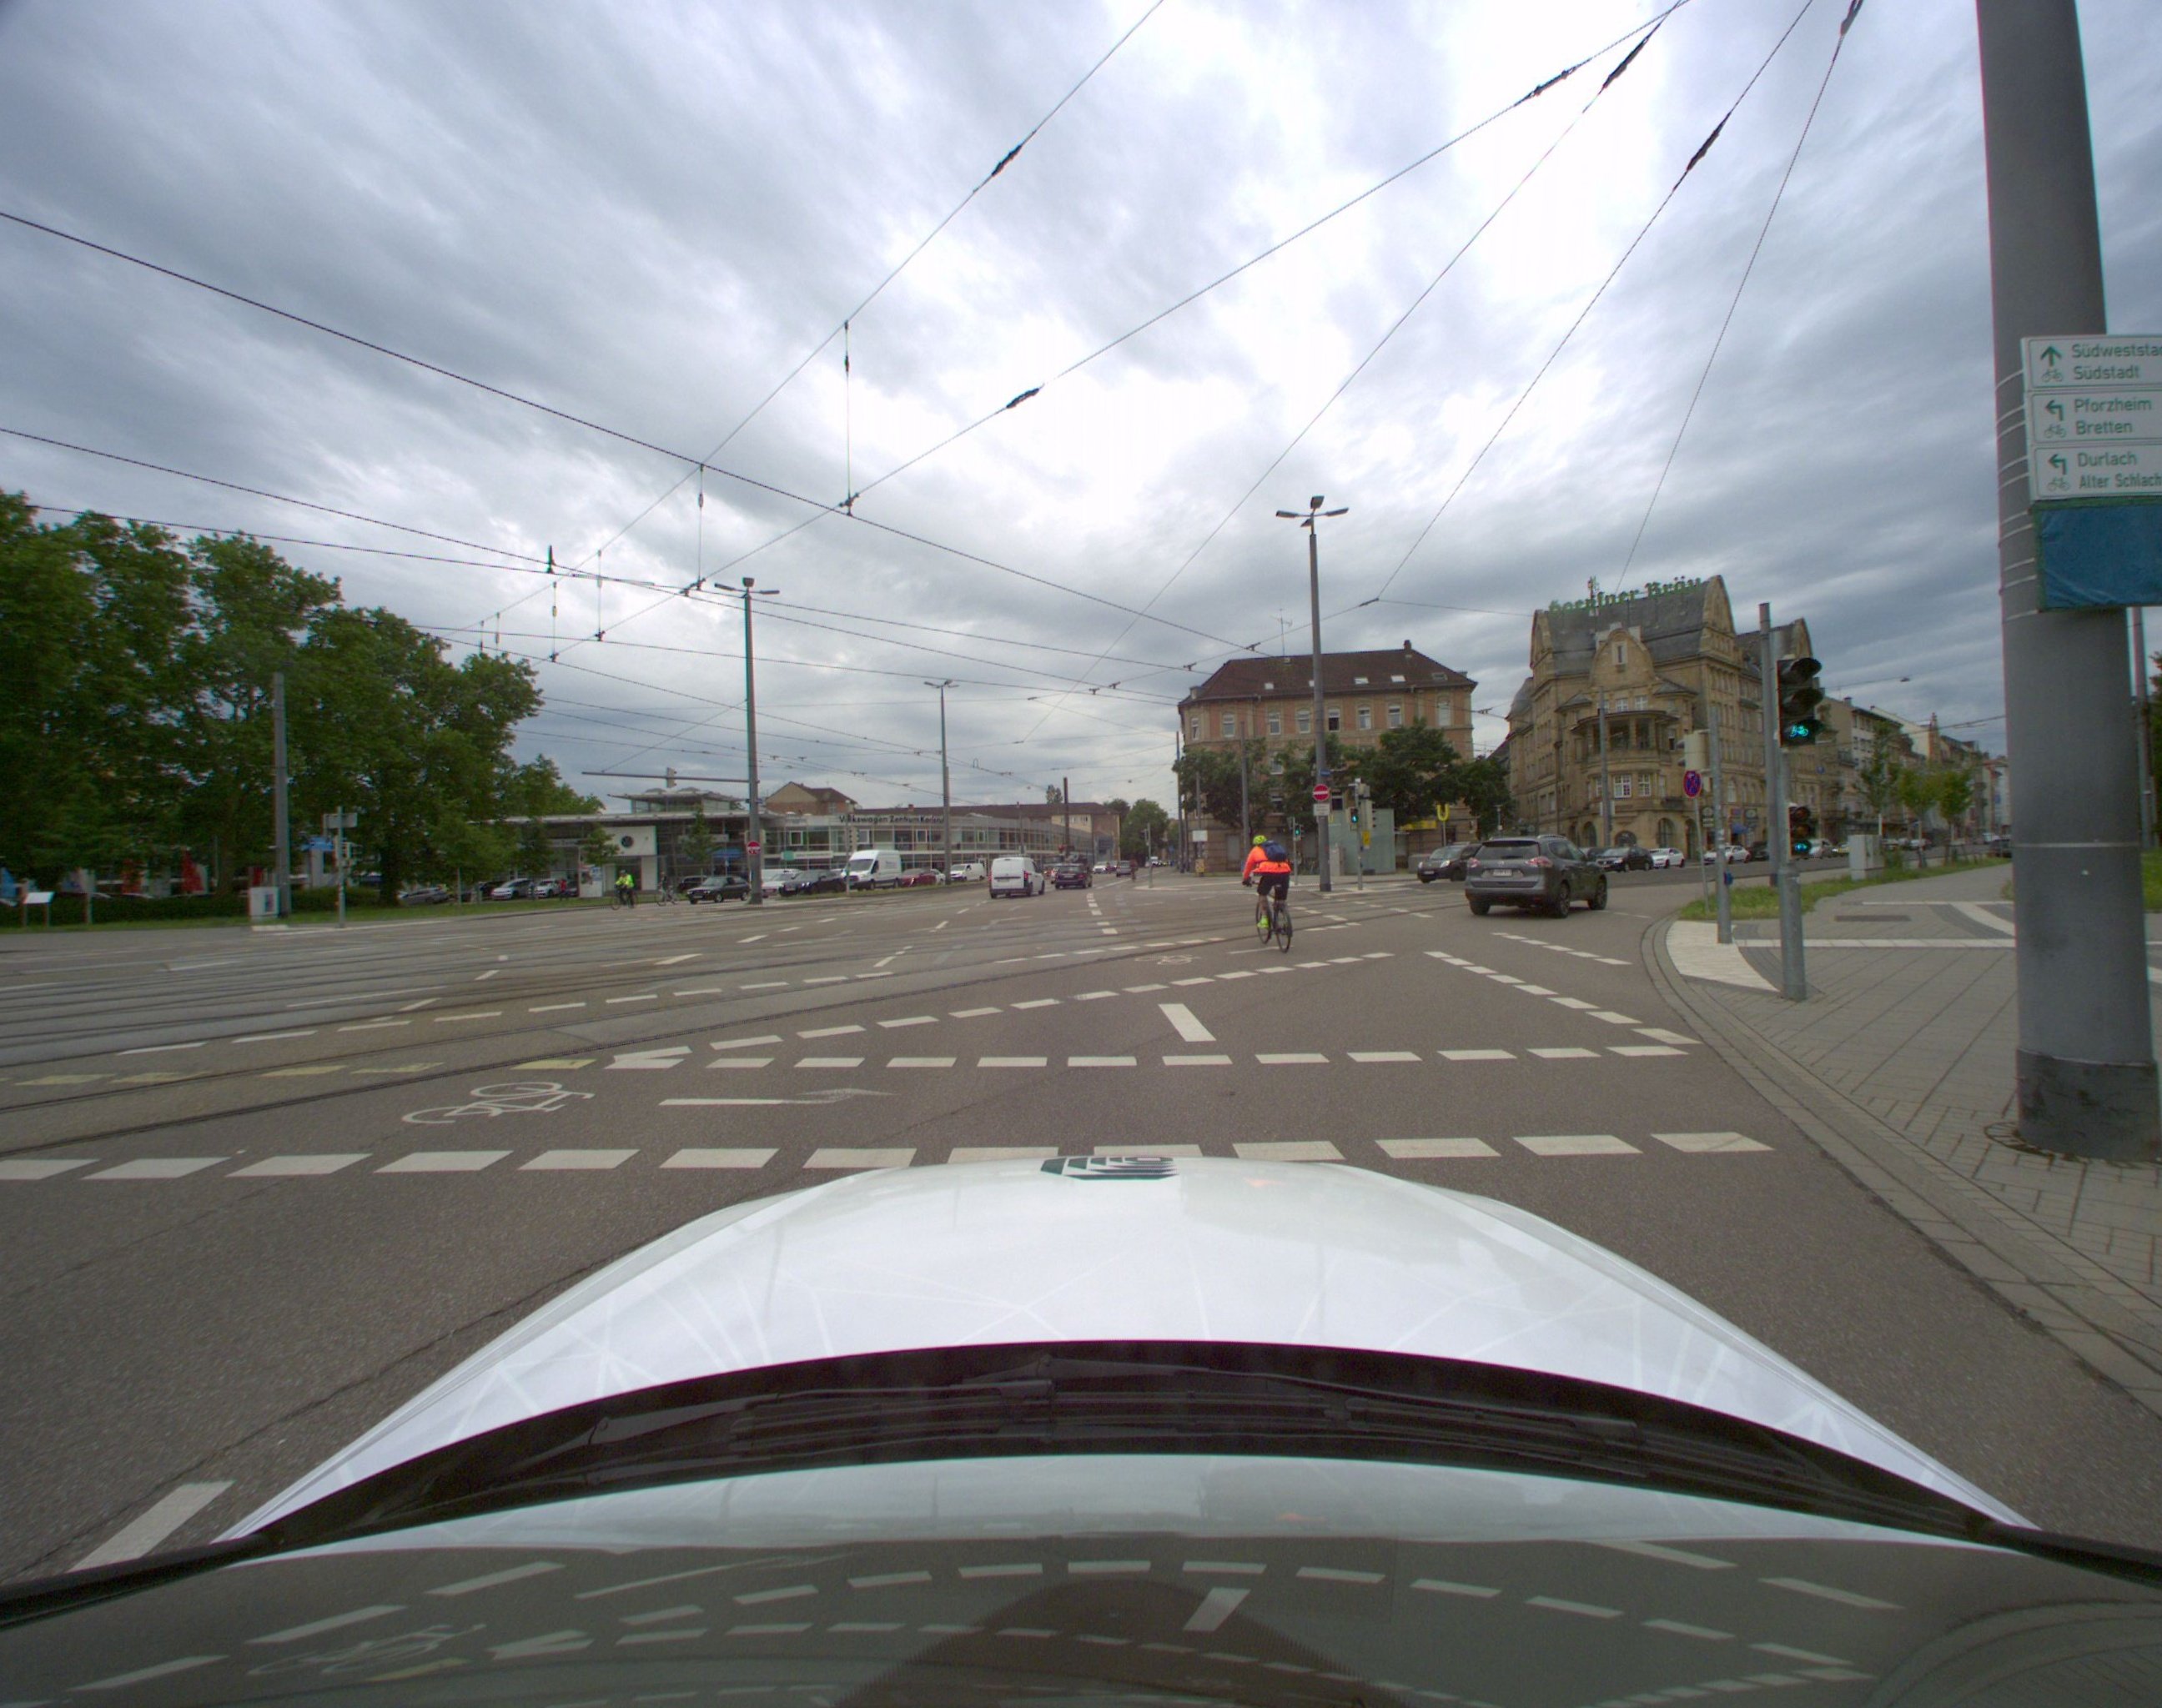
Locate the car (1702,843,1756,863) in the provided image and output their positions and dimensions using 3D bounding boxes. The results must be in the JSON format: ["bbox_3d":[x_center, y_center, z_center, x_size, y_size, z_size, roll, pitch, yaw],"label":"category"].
[{"bbox_3d":[48.950,-0.088,61.524,4.274,1.380,1.913,-1,-1,-33],"label":"car"}]

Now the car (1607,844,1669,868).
[{"bbox_3d":[36.103,0.122,52.758,3.909,1.399,1.850,-1,-3,-33],"label":"car"}]

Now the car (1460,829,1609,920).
[{"bbox_3d":[9.959,0.385,17.758,3.946,1.756,1.734,-1,0,-44],"label":"car"}]

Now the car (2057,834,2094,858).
[{"bbox_3d":[97.268,-0.793,79.627,5.006,2.115,1.836,-1,-4,-36],"label":"car"}]

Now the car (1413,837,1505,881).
[{"bbox_3d":[17.434,0.199,37.473,4.402,1.900,1.677,-1,-1,-32],"label":"car"}]

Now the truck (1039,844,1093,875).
[{"bbox_3d":[-1.726,0.708,98.032,2.769,3.549,9.275,-1,-1,24],"label":"truck"}]

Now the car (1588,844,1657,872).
[{"bbox_3d":[30.240,0.224,45.450,4.014,1.442,1.677,-1,-1,-32],"label":"car"}]

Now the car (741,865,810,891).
[{"bbox_3d":[-24.619,1.923,65.652,4.737,2.014,2.126,-1,-1,9],"label":"car"}]

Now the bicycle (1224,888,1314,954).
[{"bbox_3d":[2.812,0.973,12.398,0.556,0.848,2.066,-2,-1,-10],"label":"bicycle"}]

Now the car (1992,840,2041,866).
[{"bbox_3d":[58.262,-0.056,50.706,3.948,1.434,1.624,-1,-3,-37],"label":"car"}]

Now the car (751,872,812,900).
[{"bbox_3d":[-17.291,1.819,47.161,1.626,1.420,3.747,-2,-1,9],"label":"car"}]

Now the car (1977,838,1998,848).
[{"bbox_3d":[147.764,-1.821,132.778,4.634,1.449,1.745,-1,-1,-36],"label":"car"}]

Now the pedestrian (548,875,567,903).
[{"bbox_3d":[-36.604,2.454,56.979,0.701,1.900,0.867,-1,-1,22],"label":"pedestrian"}]

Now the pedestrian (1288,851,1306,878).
[{"bbox_3d":[14.133,0.661,53.263,0.909,1.728,0.600,-2,-1,-10],"label":"pedestrian"}]

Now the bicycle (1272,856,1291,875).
[{"bbox_3d":[15.172,0.884,61.556,0.949,1.354,3.137,-1,-1,22],"label":"bicycle"}]

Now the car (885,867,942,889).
[{"bbox_3d":[-11.982,1.699,58.603,1.978,1.420,4.822,-2,-1,16],"label":"car"}]

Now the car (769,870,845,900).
[{"bbox_3d":[-14.886,1.668,44.537,1.982,1.420,4.673,-2,-1,9],"label":"car"}]

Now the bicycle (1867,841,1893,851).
[{"bbox_3d":[96.136,-0.908,97.991,0.507,1.126,2.210,-1,-1,-43],"label":"bicycle"}]

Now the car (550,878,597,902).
[{"bbox_3d":[-47.234,3.325,75.877,1.989,2.014,3.996,-1,-1,-2],"label":"car"}]

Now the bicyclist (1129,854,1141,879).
[{"bbox_3d":[3.752,0.902,57.030,0.686,1.708,0.797,-2,-1,-3],"label":"bicyclist"}]

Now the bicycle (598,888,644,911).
[{"bbox_3d":[-21.812,2.141,38.686,0.515,0.930,2.231,-2,0,13],"label":"bicycle"}]

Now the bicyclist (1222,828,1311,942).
[{"bbox_3d":[2.803,0.449,12.437,0.827,1.621,1.317,-2,-1,-10],"label":"bicyclist"}]

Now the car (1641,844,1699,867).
[{"bbox_3d":[40.286,0.075,55.675,4.380,1.380,1.733,-1,-4,-35],"label":"car"}]

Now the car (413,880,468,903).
[{"bbox_3d":[-59.025,3.429,75.129,1.989,2.014,3.996,-1,-1,-2],"label":"car"}]

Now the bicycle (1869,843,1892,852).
[{"bbox_3d":[95.177,-0.721,96.934,0.466,1.001,1.948,-1,-1,-43],"label":"bicycle"}]

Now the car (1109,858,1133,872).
[{"bbox_3d":[5.702,1.503,115.929,1.976,1.839,4.546,-2,-1,21],"label":"car"}]

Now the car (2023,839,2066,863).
[{"bbox_3d":[71.712,-0.224,60.591,3.948,1.574,1.741,-1,-3,-36],"label":"car"}]

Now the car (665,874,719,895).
[{"bbox_3d":[-29.103,2.236,61.059,1.624,1.420,3.750,-2,-1,12],"label":"car"}]

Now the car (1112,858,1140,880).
[{"bbox_3d":[4.398,1.474,78.622,1.979,2.014,4.015,-1,-1,14],"label":"car"}]

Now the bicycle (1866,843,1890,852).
[{"bbox_3d":[92.616,-0.740,94.695,0.466,1.001,1.948,-1,-1,-43],"label":"bicycle"}]

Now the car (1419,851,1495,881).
[{"bbox_3d":[19.609,0.598,42.447,4.014,1.442,1.677,-1,-1,-32],"label":"car"}]

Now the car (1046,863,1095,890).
[{"bbox_3d":[-0.551,1.248,46.739,1.981,1.420,4.012,-2,-1,11],"label":"car"}]

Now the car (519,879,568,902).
[{"bbox_3d":[-50.077,3.366,75.921,1.989,2.014,3.996,-1,-1,-2],"label":"car"}]

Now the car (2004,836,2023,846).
[{"bbox_3d":[165.323,-2.239,144.307,4.634,1.672,1.745,-1,-1,-36],"label":"car"}]

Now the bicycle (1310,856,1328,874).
[{"bbox_3d":[17.896,0.839,61.197,0.949,1.354,3.137,-1,-1,22],"label":"bicycle"}]

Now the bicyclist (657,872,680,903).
[{"bbox_3d":[-21.123,1.699,41.674,0.562,1.508,0.860,-2,0,13],"label":"bicyclist"}]

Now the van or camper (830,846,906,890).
[{"bbox_3d":[-13.457,0.886,51.965,2.400,2.611,6.067,-1,-1,9],"label":"van or camper"}]

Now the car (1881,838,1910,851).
[{"bbox_3d":[99.900,-1.127,99.877,4.421,1.504,1.762,-1,-1,-36],"label":"car"}]

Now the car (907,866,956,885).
[{"bbox_3d":[-12.531,1.812,68.534,1.977,1.420,4.773,-2,-1,18],"label":"car"}]

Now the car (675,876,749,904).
[{"bbox_3d":[-18.903,1.828,41.890,1.676,1.247,3.747,-2,-1,9],"label":"car"}]

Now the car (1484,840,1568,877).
[{"bbox_3d":[25.343,0.245,46.335,5.118,1.916,1.850,-1,-1,-31],"label":"car"}]

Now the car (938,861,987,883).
[{"bbox_3d":[-10.838,1.649,74.730,2.139,1.856,5.473,-2,-1,18],"label":"car"}]

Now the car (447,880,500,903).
[{"bbox_3d":[-56.219,3.470,75.412,1.989,2.014,3.996,-1,-1,-2],"label":"car"}]

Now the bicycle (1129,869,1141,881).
[{"bbox_3d":[3.785,1.478,57.039,0.617,0.793,1.590,-2,-1,-2],"label":"bicycle"}]

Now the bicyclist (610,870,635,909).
[{"bbox_3d":[-21.762,1.680,38.673,0.623,1.803,0.800,-2,-1,13],"label":"bicyclist"}]

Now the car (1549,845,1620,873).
[{"bbox_3d":[30.597,0.286,49.437,4.316,1.535,1.850,-1,-3,-31],"label":"car"}]

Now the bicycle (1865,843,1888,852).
[{"bbox_3d":[91.865,-0.717,94.033,0.466,1.001,1.904,-1,-1,-43],"label":"bicycle"}]

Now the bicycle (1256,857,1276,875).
[{"bbox_3d":[14.062,0.905,61.873,0.949,1.354,3.137,-1,-1,22],"label":"bicycle"}]

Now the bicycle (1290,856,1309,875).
[{"bbox_3d":[16.428,0.860,61.218,0.949,1.354,3.137,-1,-1,22],"label":"bicycle"}]

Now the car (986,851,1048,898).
[{"bbox_3d":[-2.815,0.897,36.814,1.902,1.940,4.139,-2,-1,7],"label":"car"}]

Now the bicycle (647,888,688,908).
[{"bbox_3d":[-21.119,2.235,41.656,0.515,0.926,2.231,-2,0,13],"label":"bicycle"}]

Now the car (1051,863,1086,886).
[{"bbox_3d":[-0.878,1.457,58.482,1.842,1.508,4.009,-1,-1,8],"label":"car"}]

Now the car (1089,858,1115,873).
[{"bbox_3d":[2.820,1.511,107.829,1.976,1.839,4.546,-2,-1,21],"label":"car"}]

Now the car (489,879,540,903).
[{"bbox_3d":[-52.583,3.414,75.662,1.989,2.014,3.996,-1,-1,-2],"label":"car"}]

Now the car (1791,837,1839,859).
[{"bbox_3d":[61.434,-0.529,68.176,4.929,1.706,1.849,-1,-2,-35],"label":"car"}]
